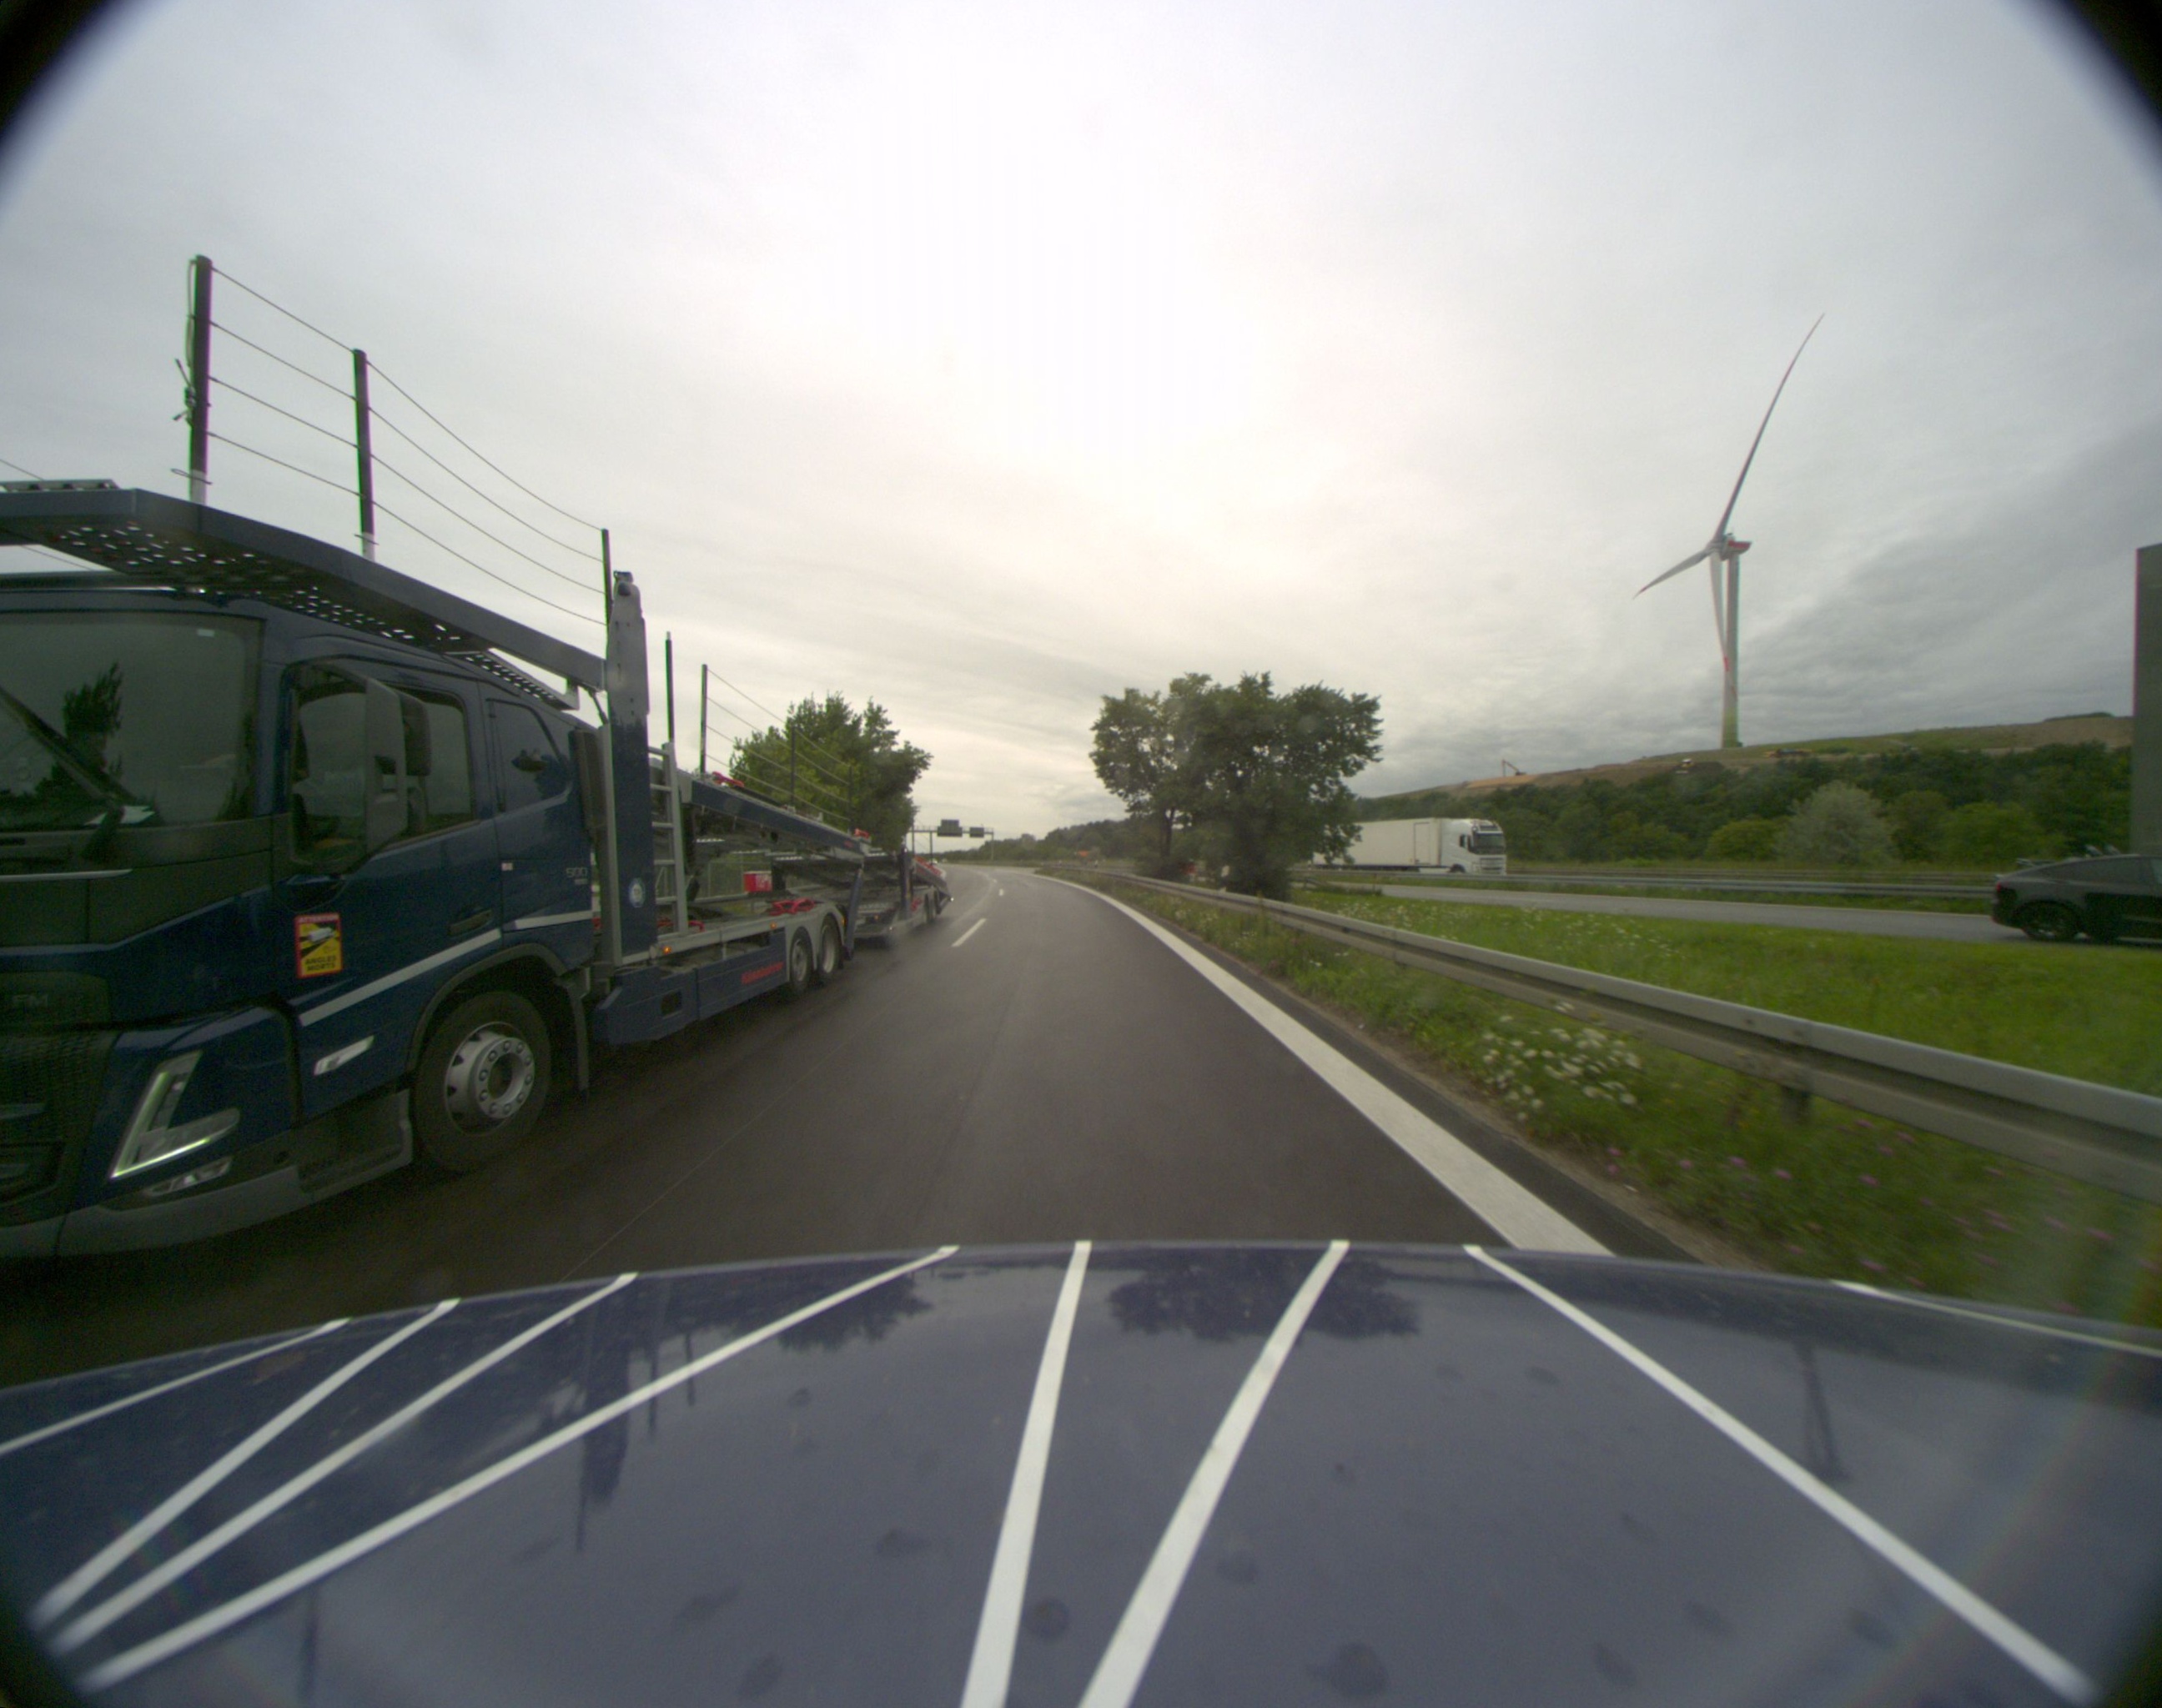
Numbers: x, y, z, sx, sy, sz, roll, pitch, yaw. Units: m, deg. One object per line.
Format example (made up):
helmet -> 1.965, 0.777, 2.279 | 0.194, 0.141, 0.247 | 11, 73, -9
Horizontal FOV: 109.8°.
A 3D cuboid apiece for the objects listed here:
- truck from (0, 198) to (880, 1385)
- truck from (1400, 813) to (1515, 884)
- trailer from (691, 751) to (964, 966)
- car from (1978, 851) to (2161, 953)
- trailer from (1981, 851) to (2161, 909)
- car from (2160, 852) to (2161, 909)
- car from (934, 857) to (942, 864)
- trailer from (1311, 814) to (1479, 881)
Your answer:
truck -> -4.478, -0.125, 7.082 | 2.746, 3.944, 9.127 | -3, 0, -1
truck -> 23.266, -0.333, 47.355 | 2.777, 4.111, 6.436 | -1, 0, -16
trailer -> -4.690, 0.072, 16.898 | 2.785, 3.265, 10.405 | -1, 0, -1
car -> 18.776, 0.794, 12.657 | 1.969, 1.628, 4.547 | -1, 1, -16
trailer -> 30.959, 0.724, 23.475 | 1.889, 1.617, 3.605 | -1, 1, -16
car -> 32.134, 0.753, 19.476 | 1.889, 1.617, 4.799 | -1, 1, -16
car -> -37.107, 1.708, 197.020 | 1.632, 1.632, 3.771 | -1, 1, -18
trailer -> 21.444, -0.379, 53.519 | 2.777, 4.111, 13.931 | -1, 0, -16
